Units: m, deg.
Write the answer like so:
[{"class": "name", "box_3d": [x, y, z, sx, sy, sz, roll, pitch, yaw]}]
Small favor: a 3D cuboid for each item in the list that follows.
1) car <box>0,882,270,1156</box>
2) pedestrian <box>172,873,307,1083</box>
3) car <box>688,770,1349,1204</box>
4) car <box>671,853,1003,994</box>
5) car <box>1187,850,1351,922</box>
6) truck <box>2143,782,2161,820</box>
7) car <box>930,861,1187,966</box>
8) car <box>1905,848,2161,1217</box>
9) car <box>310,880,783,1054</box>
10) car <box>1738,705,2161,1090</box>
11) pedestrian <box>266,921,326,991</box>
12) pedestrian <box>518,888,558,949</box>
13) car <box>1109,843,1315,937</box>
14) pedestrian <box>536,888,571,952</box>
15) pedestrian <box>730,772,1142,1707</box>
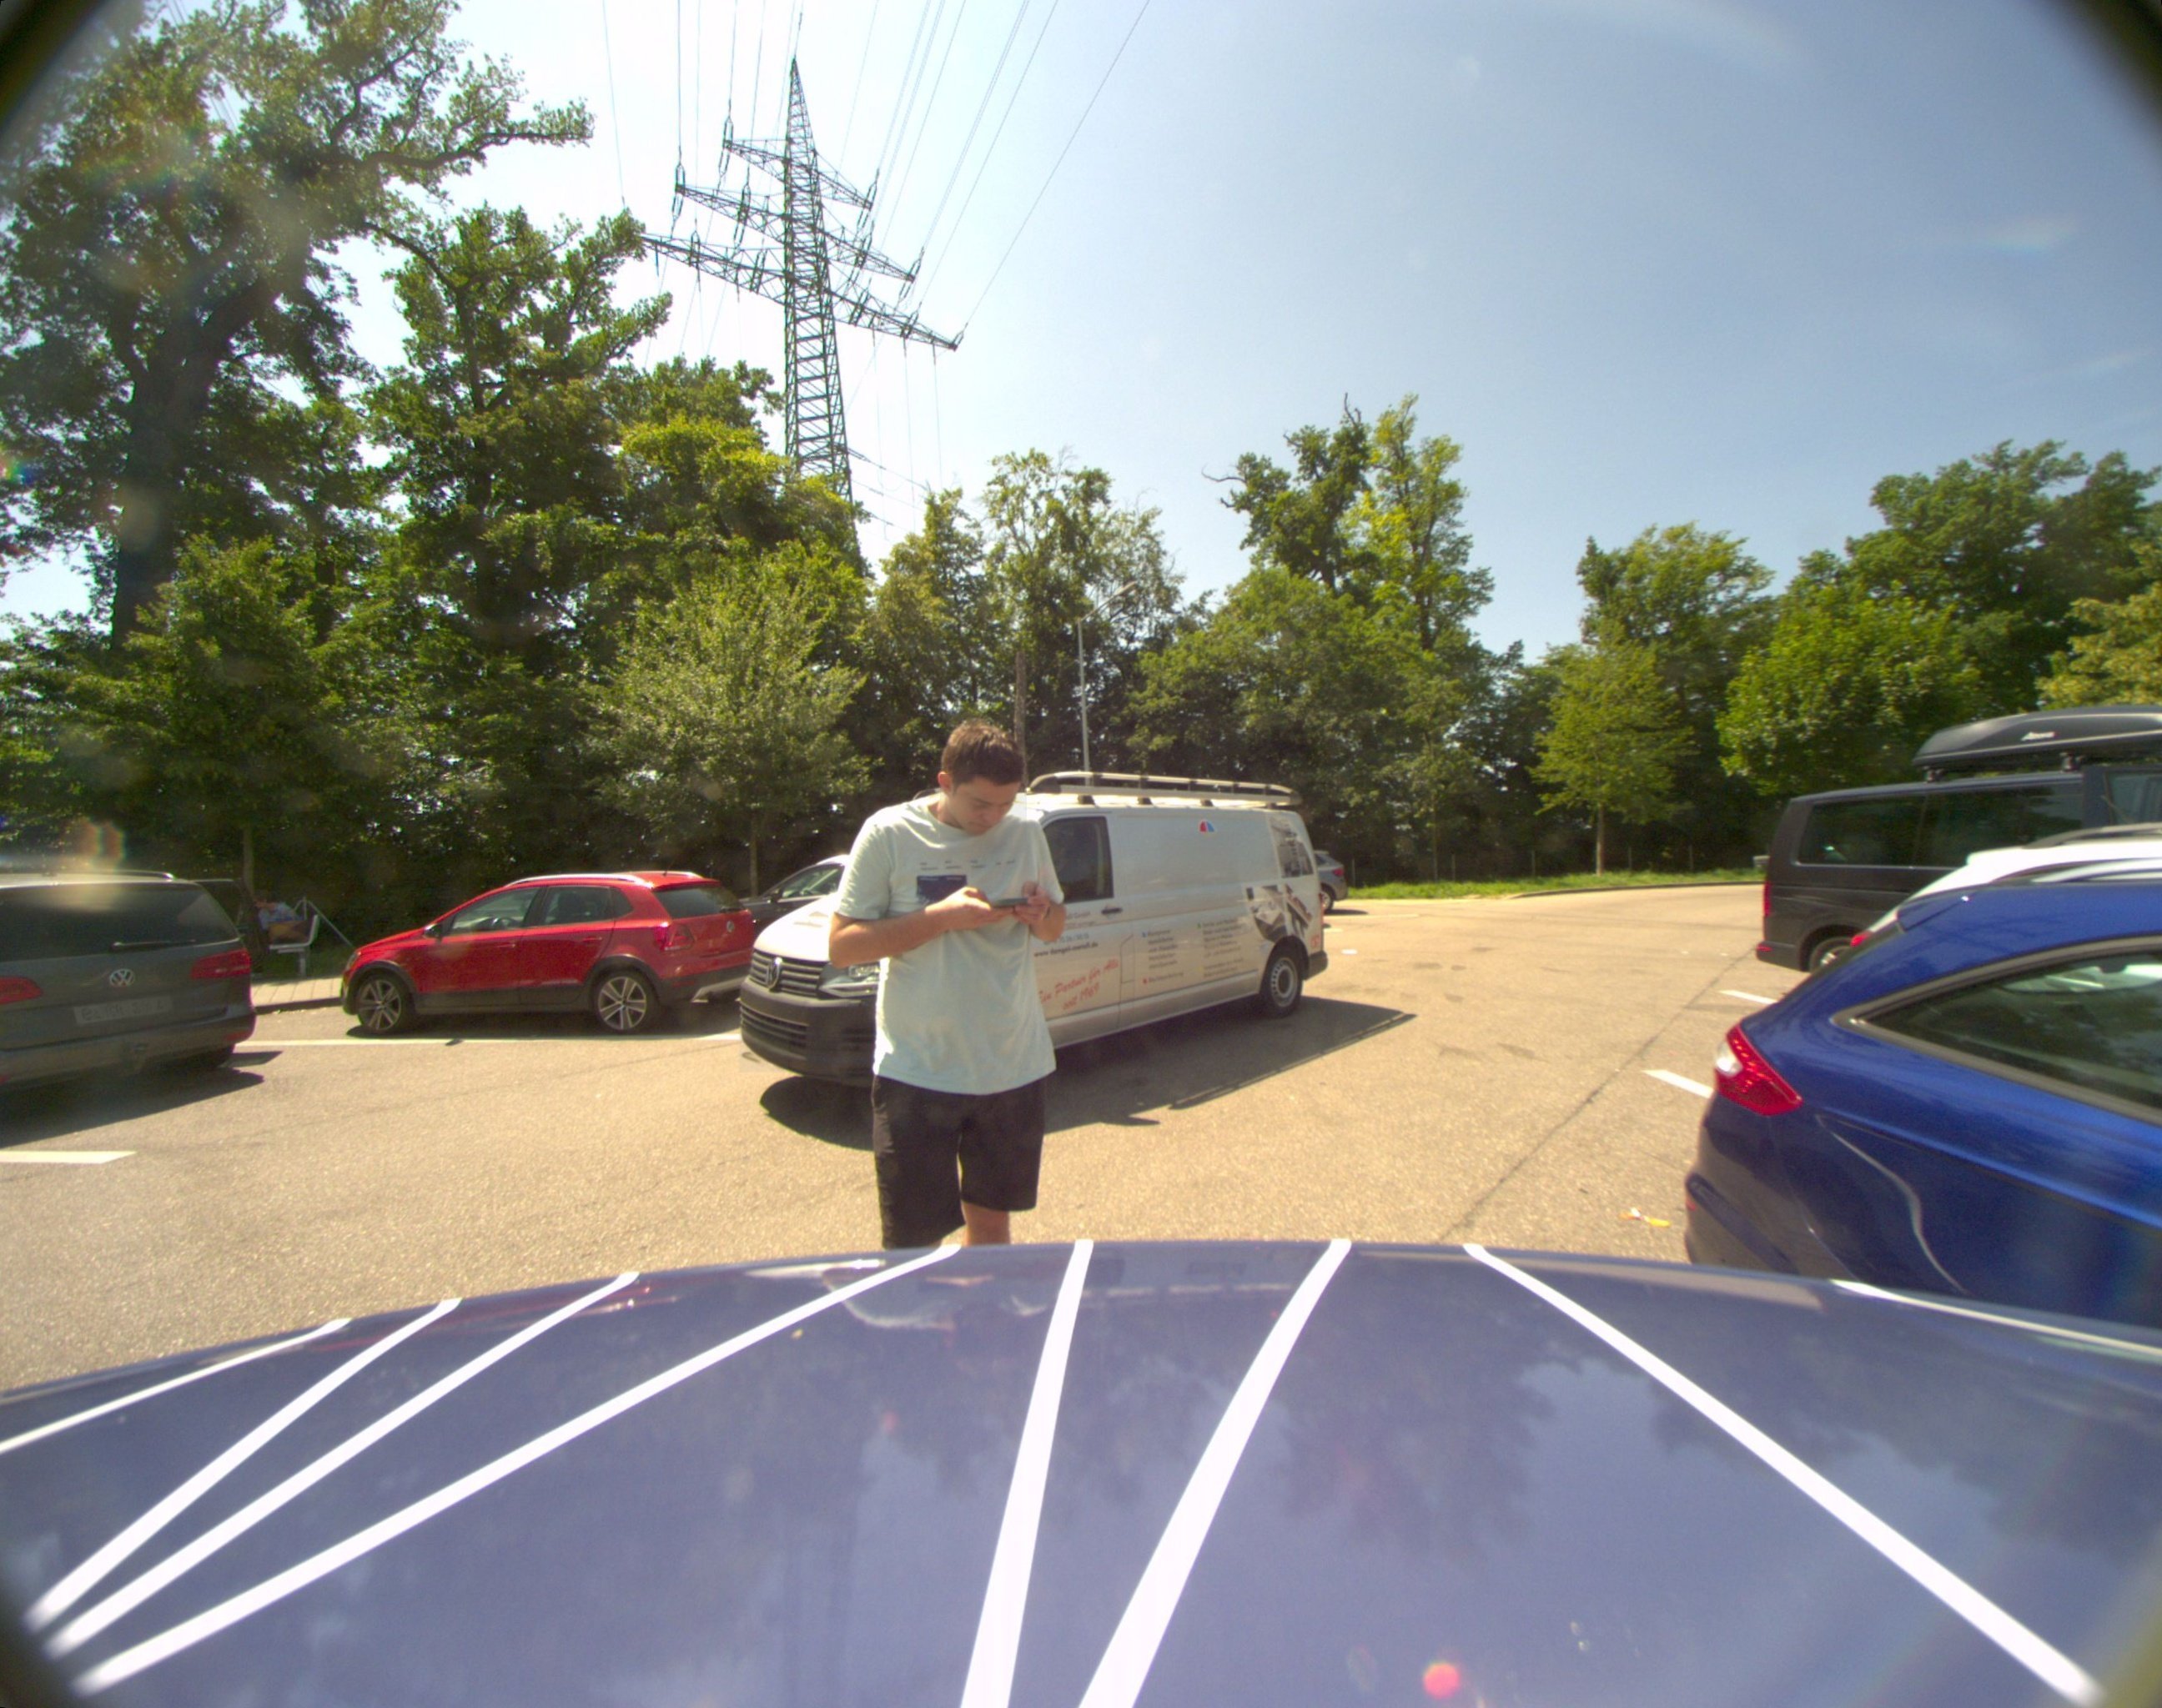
[{"class": "car", "box_3d": [-8.431, 1.099, 5.438, 3.903, 1.607, 1.705, -2, 1, 11]}, {"class": "pedestrian", "box_3d": [-7.348, 1.044, 6.651, 0.481, 1.712, 0.589, -2, 1, 22]}, {"class": "car", "box_3d": [0.045, 0.606, 6.222, 5.445, 2.092, 1.839, -2, 1, -45]}, {"class": "car", "box_3d": [-3.103, 0.865, 10.233, 3.866, 1.607, 1.709, -2, 0, 0]}, {"class": "car", "box_3d": [4.372, 0.731, 18.103, 3.585, 1.493, 1.707, -2, 1, 8]}, {"class": "truck", "box_3d": [40.269, -1.972, 26.903, 1.168, 1.367, 2.882, -2, -1, -19]}, {"class": "car", "box_3d": [-0.276, 0.900, 12.146, 3.773, 1.445, 1.848, -2, 0, 4]}, {"class": "car", "box_3d": [4.687, 0.657, 2.142, 1.344, 1.352, 3.114, -2, 0, 1]}, {"class": "car", "box_3d": [-5.227, 1.077, 7.695, 3.745, 1.458, 1.621, -2, 0, 7]}, {"class": "car", "box_3d": [7.284, 0.243, 5.186, 1.788, 2.304, 4.084, -2, 0, -5]}, {"class": "pedestrian", "box_3d": [-10.828, 1.396, 10.493, 0.503, 0.874, 0.512, -2, 0, -39]}, {"class": "pedestrian", "box_3d": [-10.977, 1.291, 15.355, 0.413, 1.186, 0.443, -2, 1, 12]}, {"class": "car", "box_3d": [2.554, 0.694, 15.415, 3.850, 1.678, 1.755, -2, 0, 4]}, {"class": "pedestrian", "box_3d": [-10.095, 1.265, 14.550, 0.366, 1.186, 0.356, -2, 1, 21]}, {"class": "pedestrian", "box_3d": [-0.363, 0.760, 1.840, 0.741, 1.818, 0.613, -2, 0, -34]}]
